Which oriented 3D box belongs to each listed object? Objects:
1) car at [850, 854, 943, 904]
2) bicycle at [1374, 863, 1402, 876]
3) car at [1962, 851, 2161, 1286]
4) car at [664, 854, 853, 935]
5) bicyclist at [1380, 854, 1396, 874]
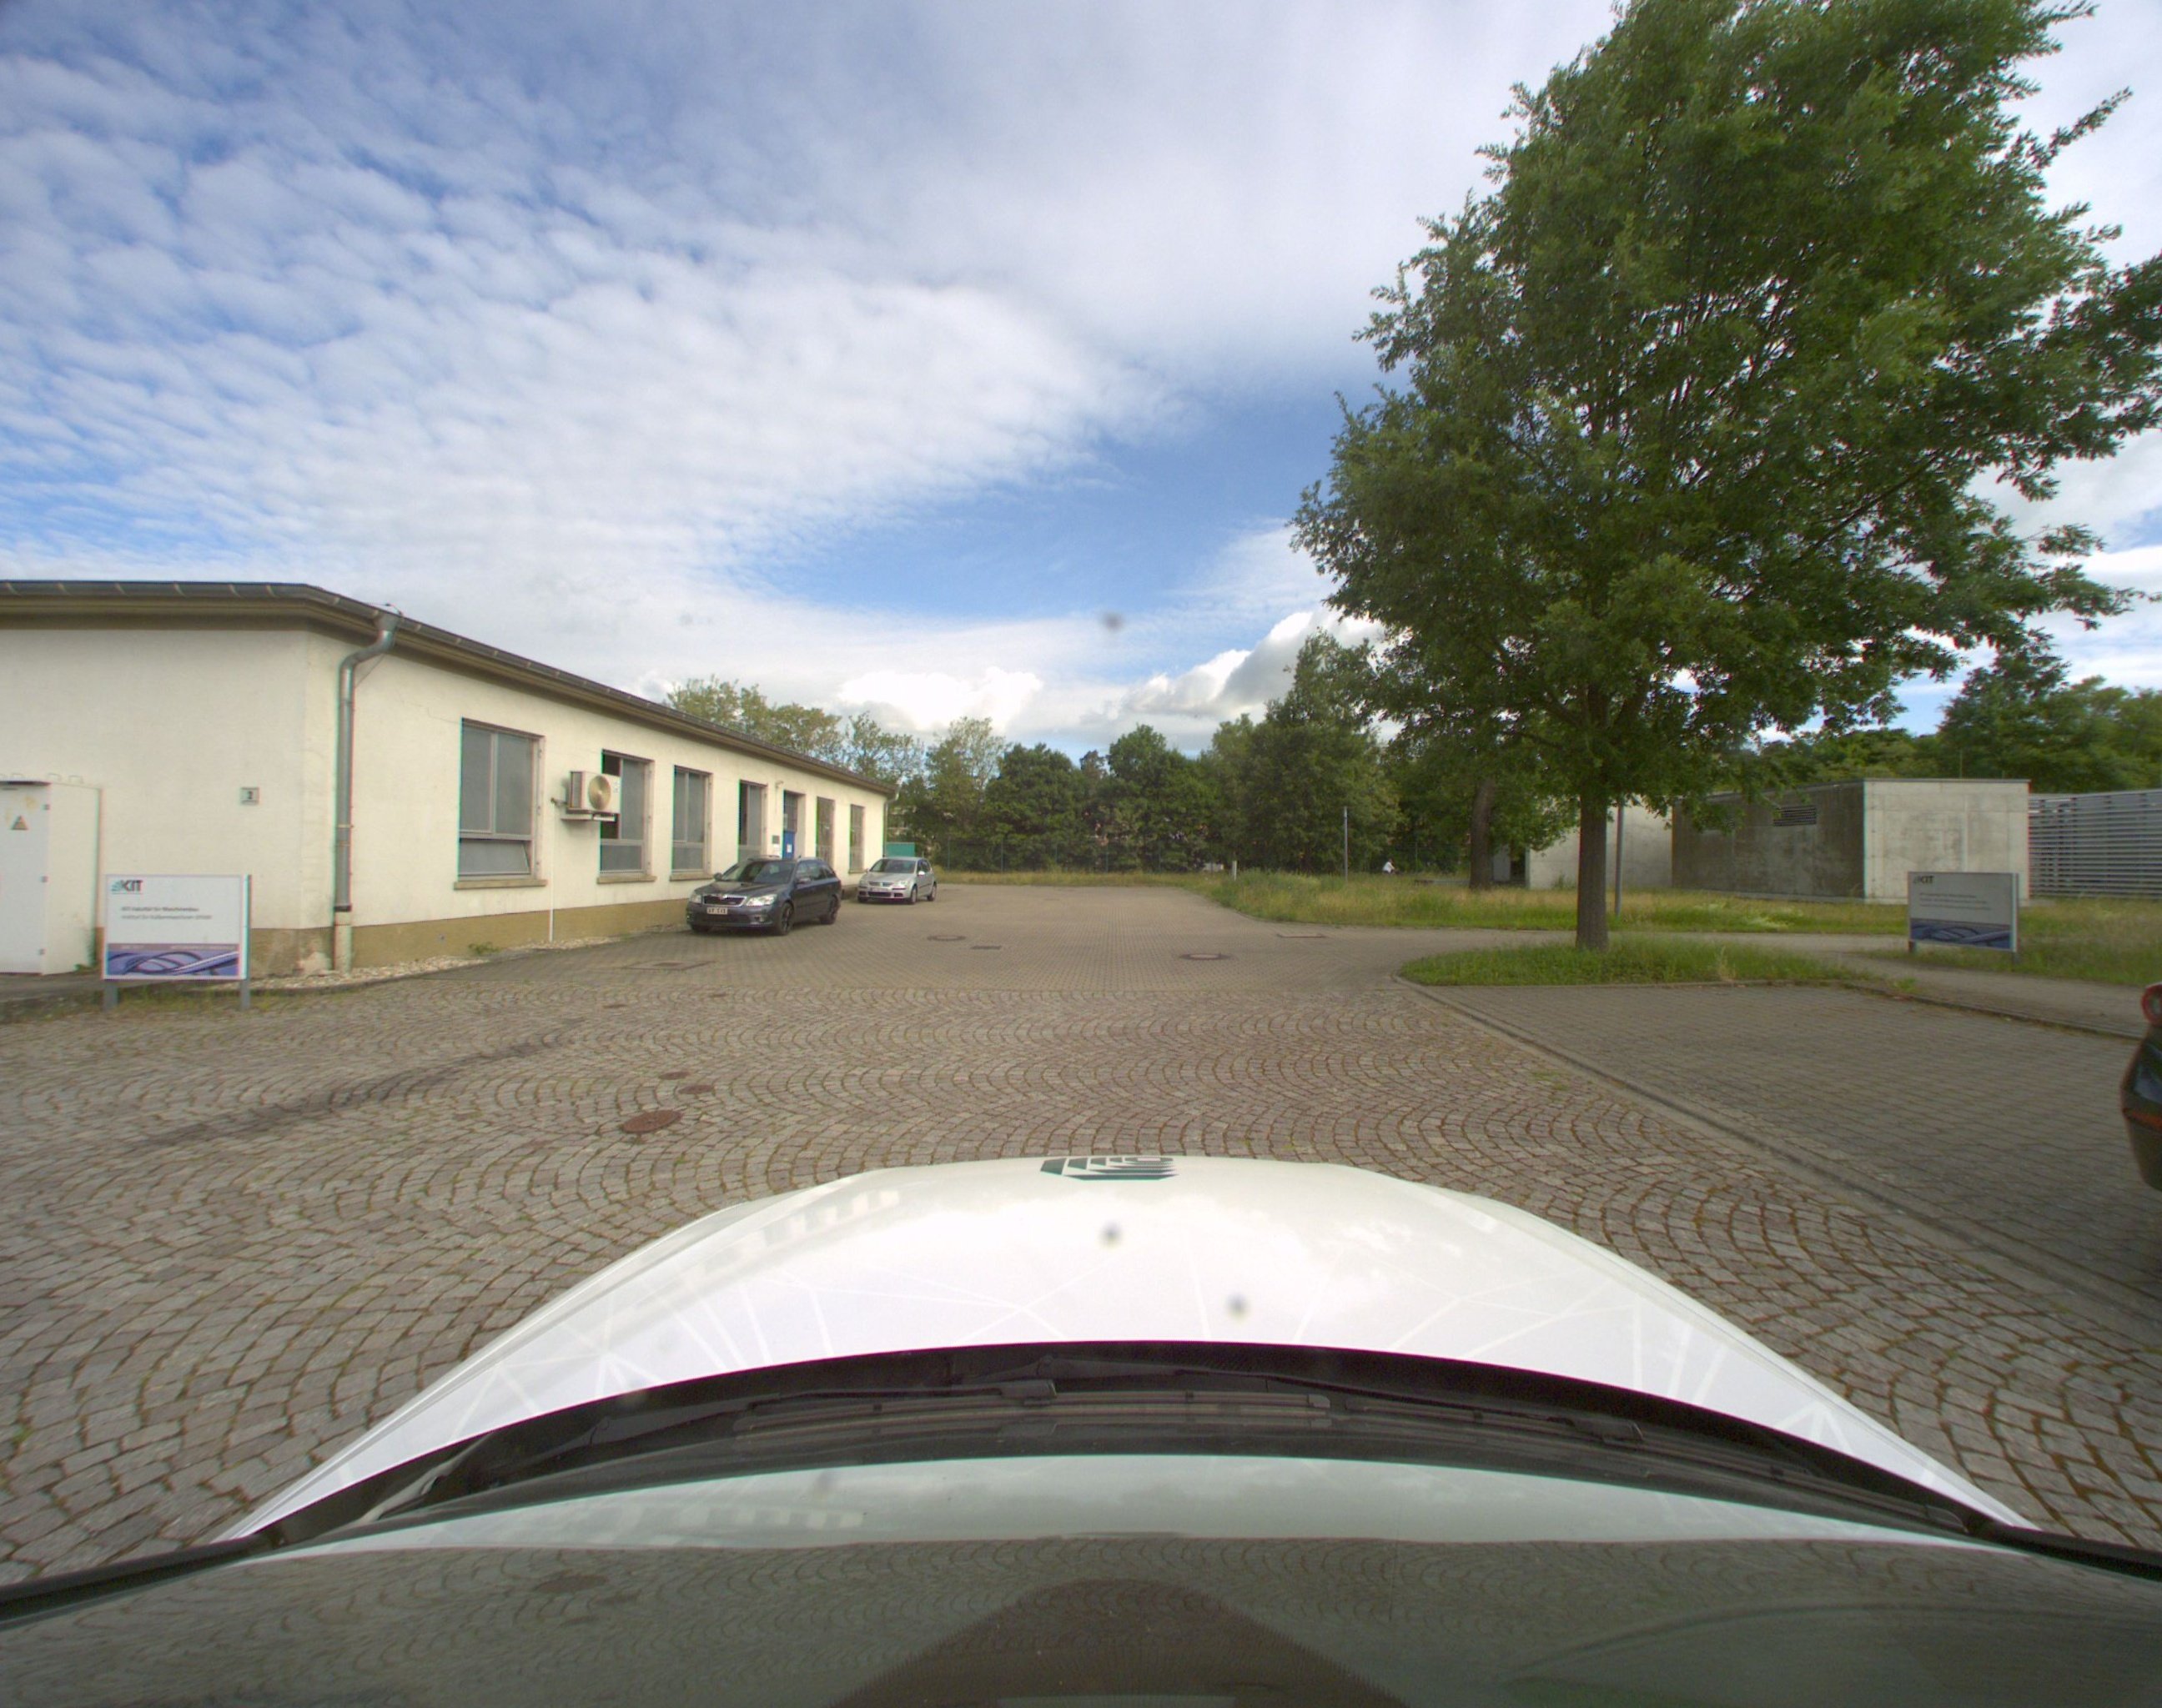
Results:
[{"bbox_3d":[-5.924,0.770,26.670,1.918,1.439,4.369,2,0,1],"label":"car"},{"bbox_3d":[18.981,0.982,50.323,1.511,0.791,0.588,0,0,1],"label":"bicycle"},{"bbox_3d":[5.818,0.686,2.324,4.447,1.447,1.945,-1,0,1],"label":"car"},{"bbox_3d":[-6.412,0.728,16.903,1.918,1.439,4.812,0,0,1],"label":"car"},{"bbox_3d":[18.959,0.611,50.330,0.766,1.206,0.588,0,0,2],"label":"bicyclist"}]
